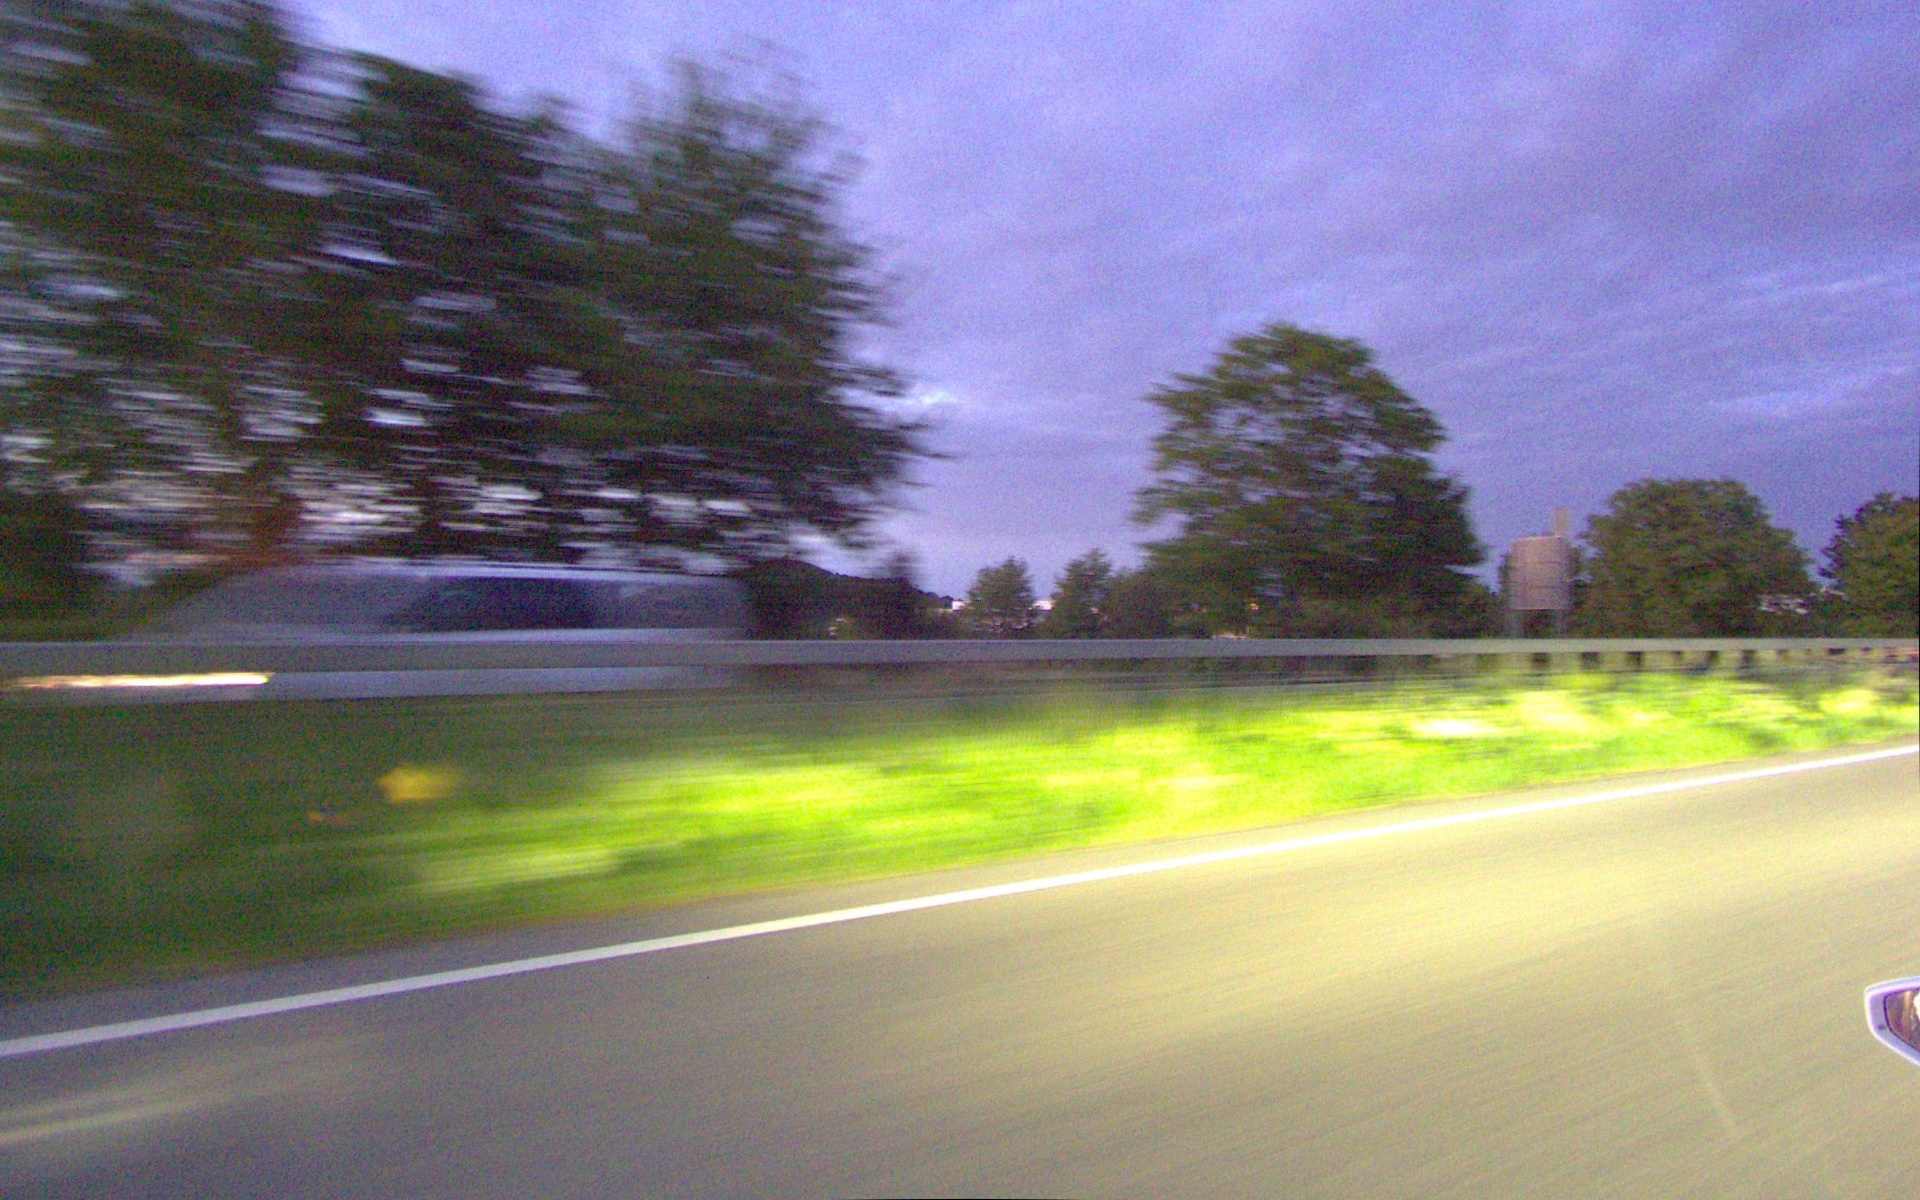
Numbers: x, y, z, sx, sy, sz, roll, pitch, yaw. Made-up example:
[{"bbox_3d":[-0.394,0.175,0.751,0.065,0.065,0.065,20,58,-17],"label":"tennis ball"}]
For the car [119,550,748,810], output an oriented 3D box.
[{"bbox_3d":[-5.095,0.729,10.445,5.287,2.127,1.955,2,-1,-31],"label":"car"}]
